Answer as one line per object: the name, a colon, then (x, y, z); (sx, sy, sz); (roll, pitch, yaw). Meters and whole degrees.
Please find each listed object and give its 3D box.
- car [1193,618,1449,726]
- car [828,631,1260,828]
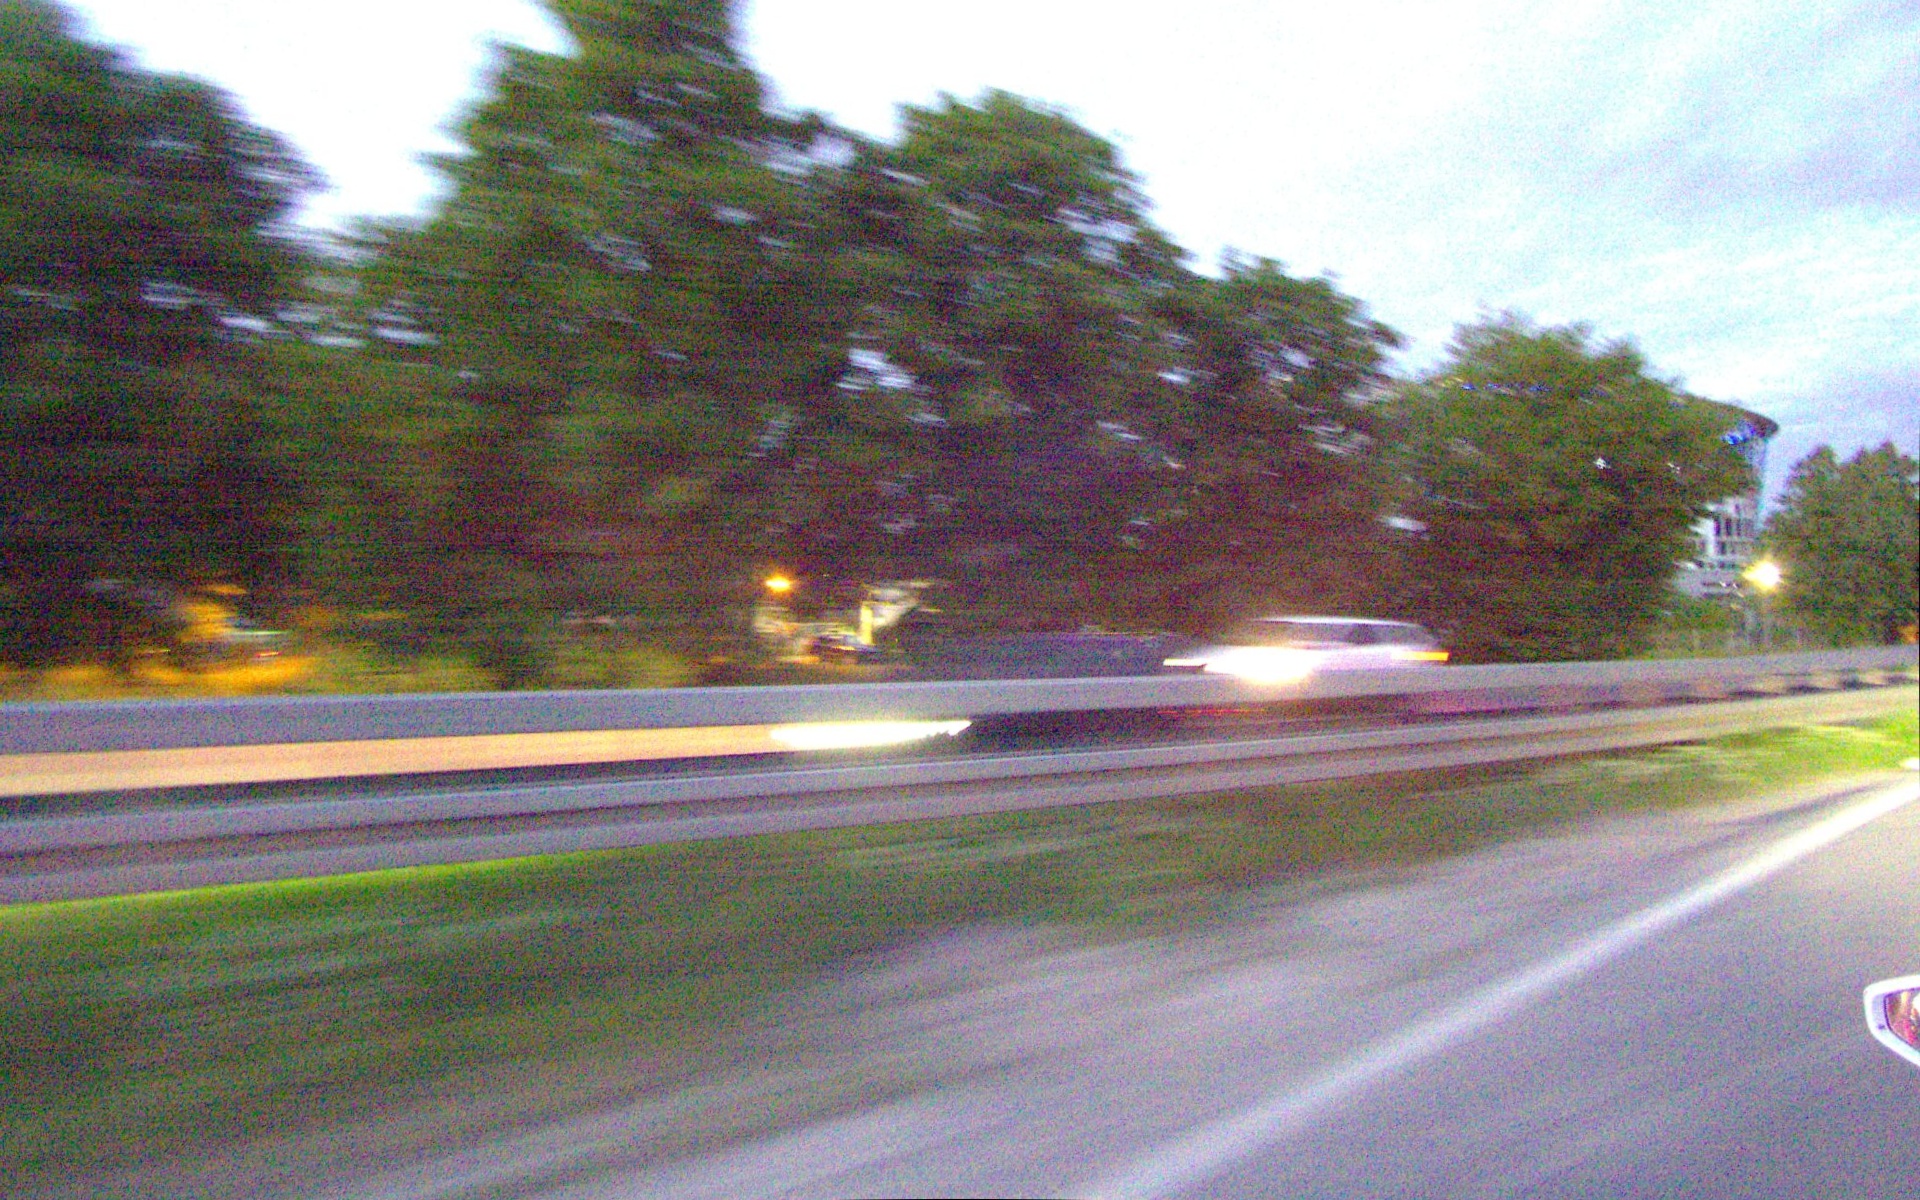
car: (6.164, 1.154, 17.072); (4.253, 1.644, 1.694); (1, -1, -28)
car: (0.868, 1.092, 9.786); (3.951, 1.554, 1.685); (1, -1, -29)
